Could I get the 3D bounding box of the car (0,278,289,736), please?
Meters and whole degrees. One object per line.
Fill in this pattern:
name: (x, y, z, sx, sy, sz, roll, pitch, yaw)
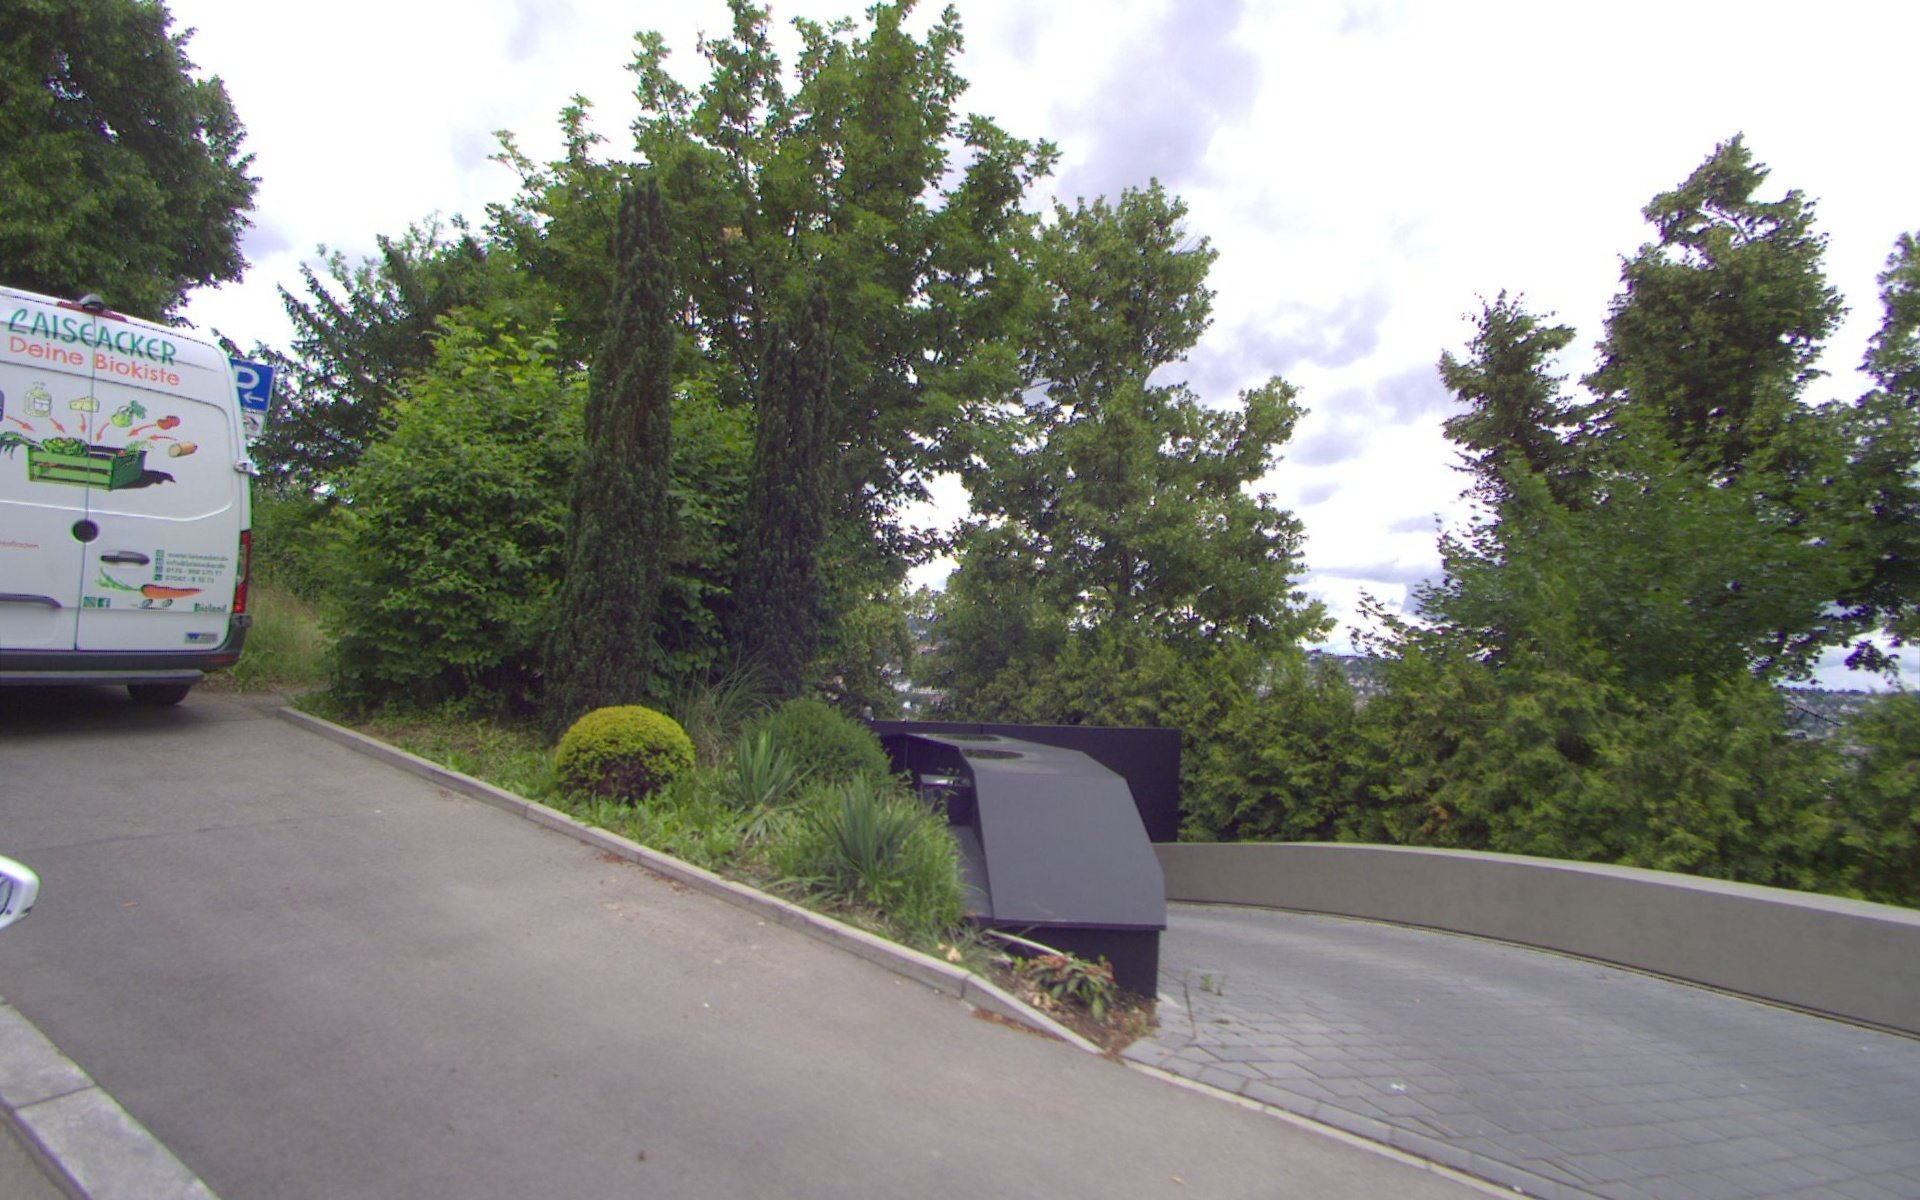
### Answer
car: (-7.639, -0.743, 7.459, 5.748, 2.555, 2.086, 6, 1, 32)
